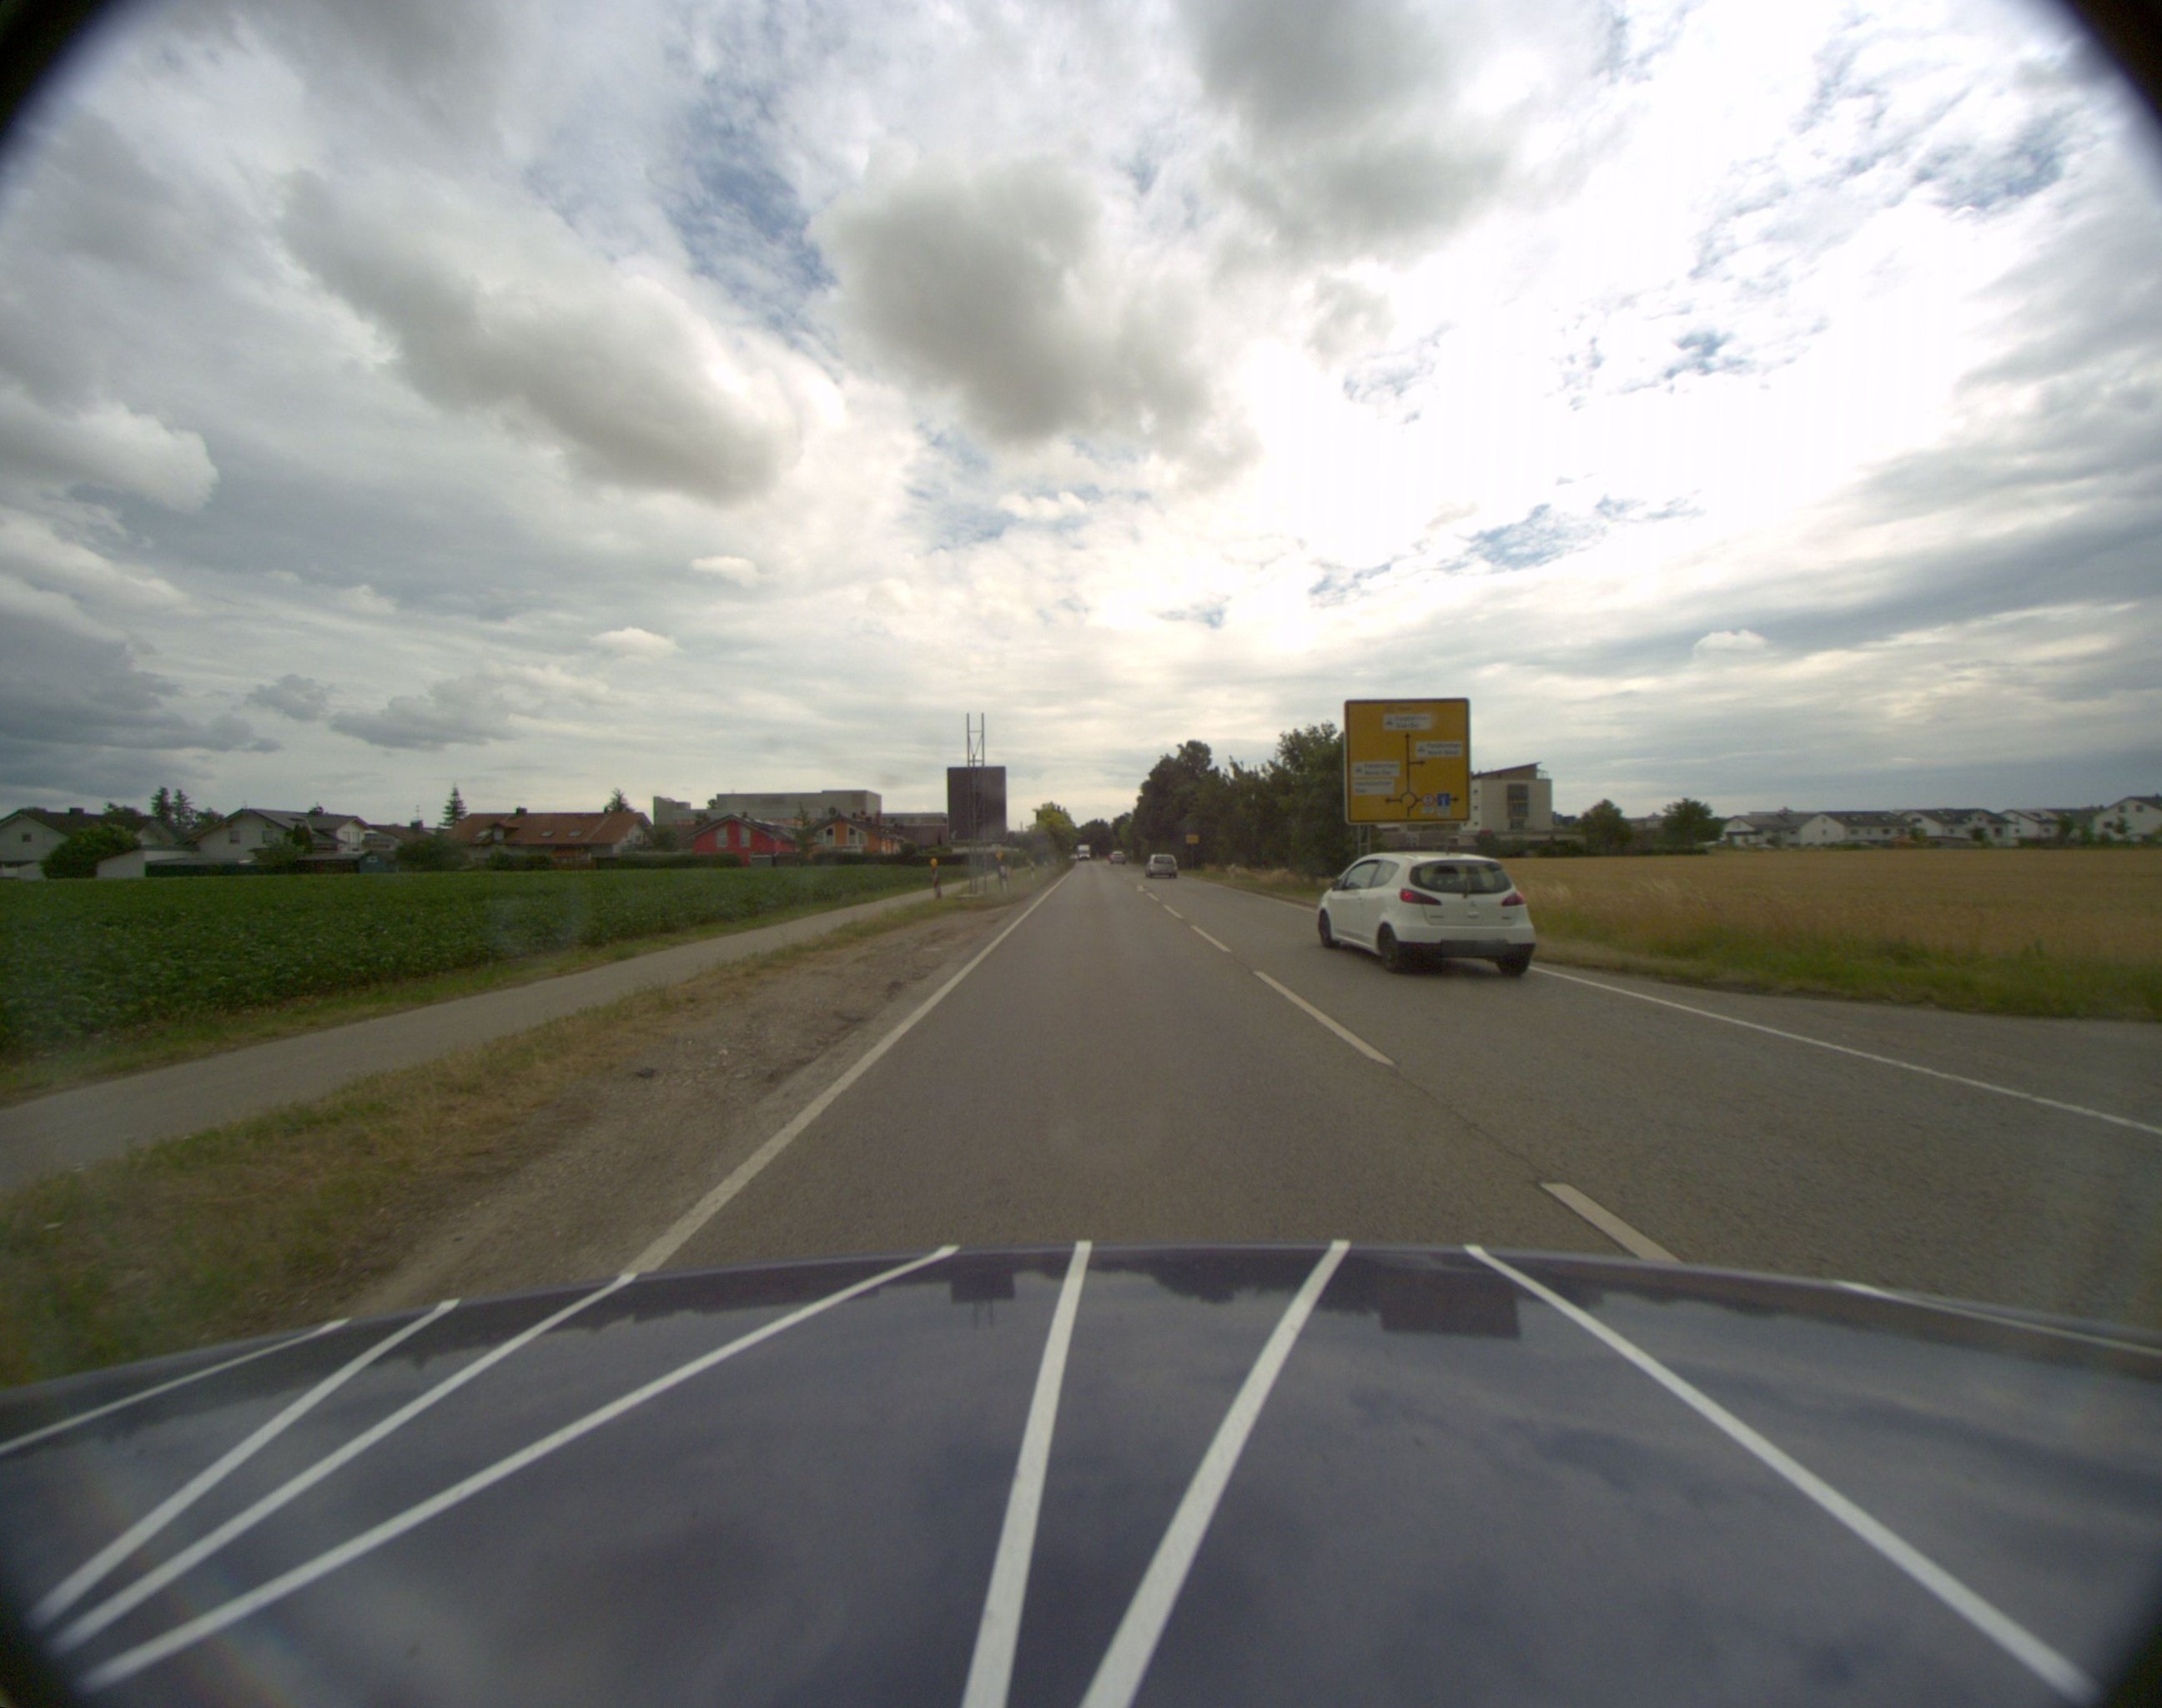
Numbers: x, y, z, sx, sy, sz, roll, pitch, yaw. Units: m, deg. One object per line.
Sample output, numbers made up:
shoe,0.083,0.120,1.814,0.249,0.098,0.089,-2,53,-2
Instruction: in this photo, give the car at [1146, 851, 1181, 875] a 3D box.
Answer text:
car,4.938,0.517,45.888,1.733,1.355,3.949,-1,1,1

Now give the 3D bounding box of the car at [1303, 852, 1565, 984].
car,4.578,0.717,10.618,1.810,1.448,4.113,-1,1,1

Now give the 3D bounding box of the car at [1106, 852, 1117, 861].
car,6.162,0.468,153.045,1.945,1.577,4.554,1,1,-1

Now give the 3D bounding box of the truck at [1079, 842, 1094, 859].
truck,1.212,-0.770,158.334,2.613,3.428,7.508,-2,0,4

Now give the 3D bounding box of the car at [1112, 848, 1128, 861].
car,5.218,0.027,102.919,1.998,1.674,4.809,0,0,1
